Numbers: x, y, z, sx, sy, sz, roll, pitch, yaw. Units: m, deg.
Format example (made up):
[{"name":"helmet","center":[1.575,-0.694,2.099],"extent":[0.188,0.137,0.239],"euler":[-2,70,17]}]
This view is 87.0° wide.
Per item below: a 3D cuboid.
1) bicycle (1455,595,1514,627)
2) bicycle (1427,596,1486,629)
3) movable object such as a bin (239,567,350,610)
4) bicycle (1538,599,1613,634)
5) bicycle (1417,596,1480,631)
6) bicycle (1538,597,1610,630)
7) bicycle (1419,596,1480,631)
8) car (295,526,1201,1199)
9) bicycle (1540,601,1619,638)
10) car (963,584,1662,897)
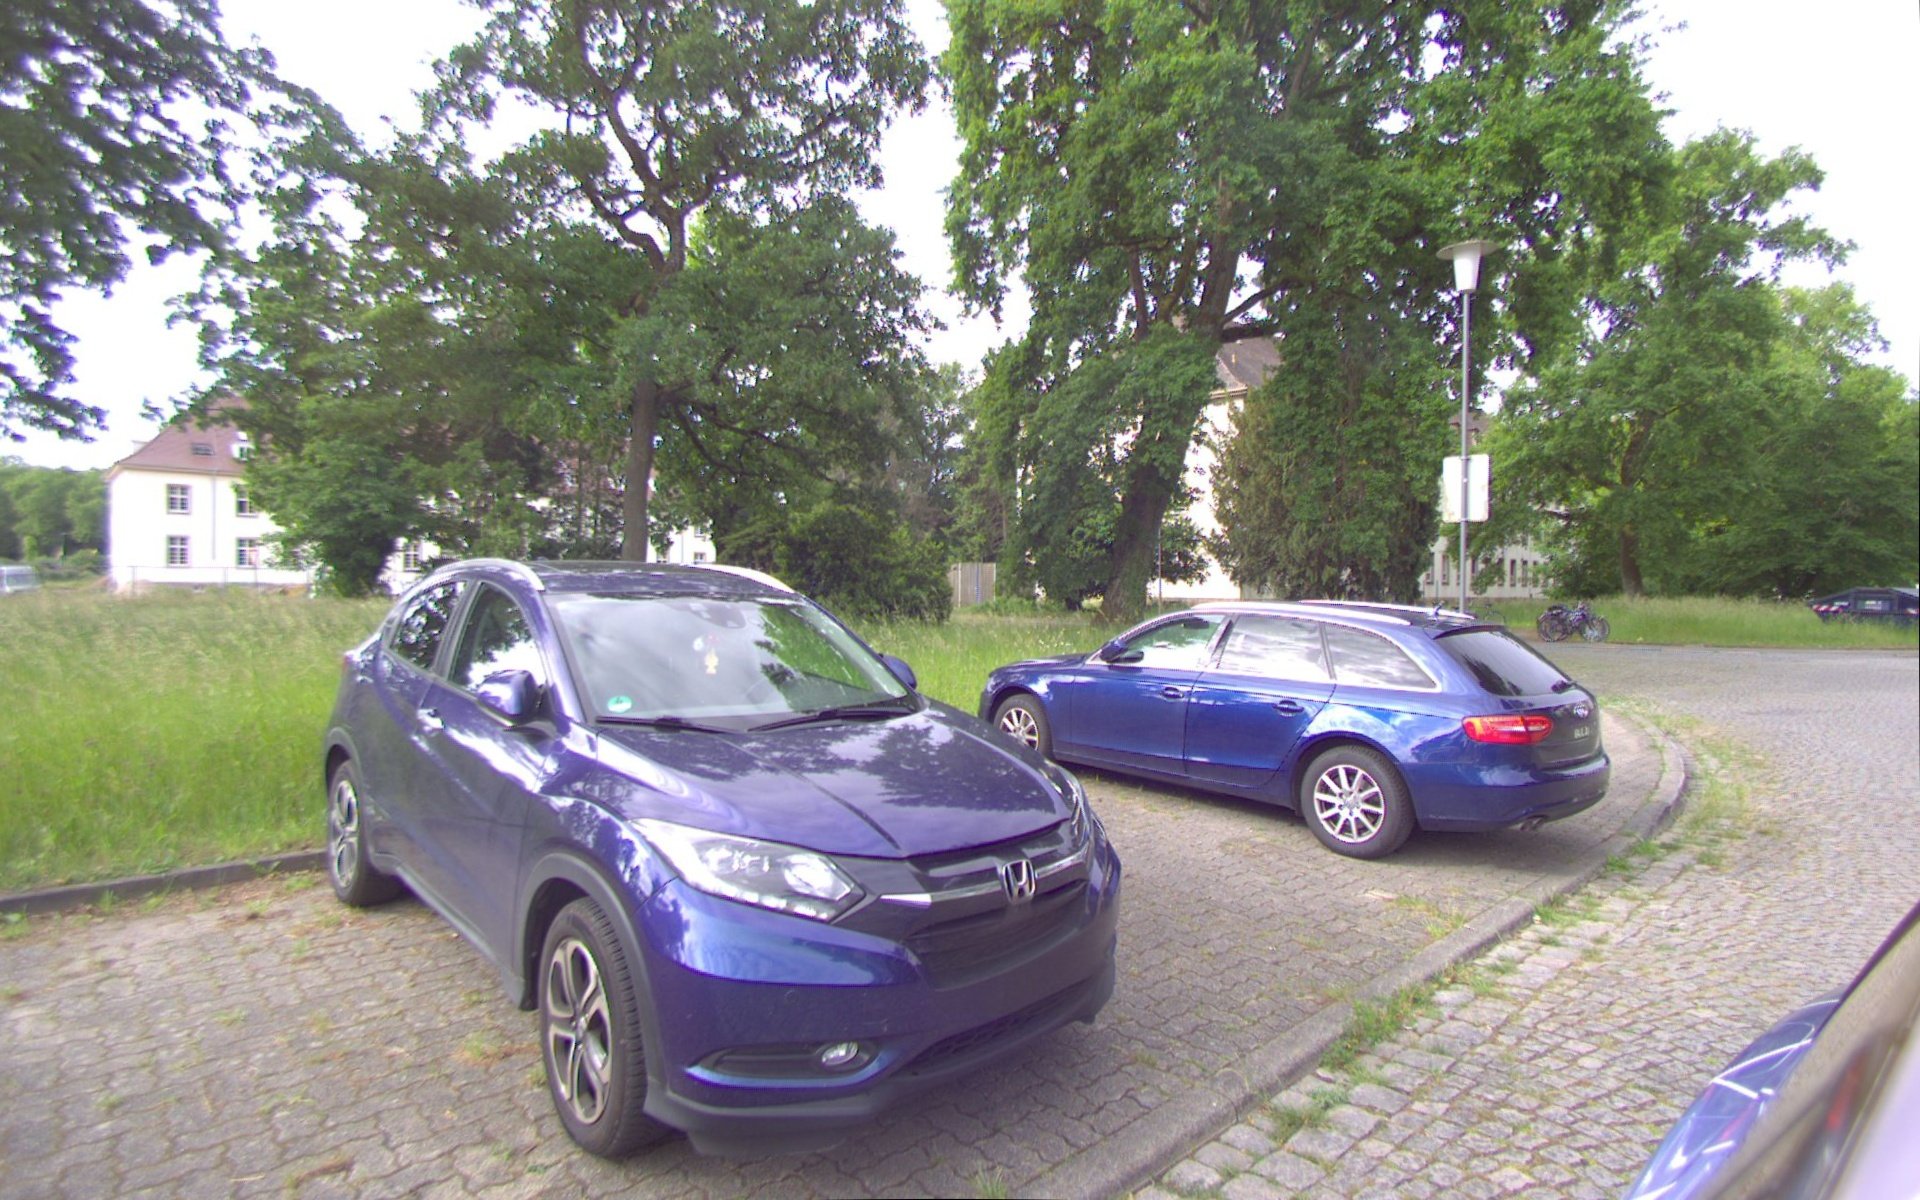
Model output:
[{"name":"bicycle","center":[19.159,0.391,37.008],"extent":[1.837,1.137,0.617],"euler":[0,0,24]},{"name":"bicycle","center":[17.456,0.426,35.634],"extent":[1.837,1.137,0.617],"euler":[0,0,24]},{"name":"movable object such as a bin","center":[-43.417,-0.774,66.151],"extent":[5.873,2.688,2.172],"euler":[-1,0,-41]},{"name":"bicycle","center":[19.502,0.520,32.118],"extent":[1.948,1.090,0.584],"euler":[0,0,20]},{"name":"bicycle","center":[16.238,0.451,33.668],"extent":[1.837,1.137,0.617],"euler":[0,0,24]},{"name":"bicycle","center":[20.593,0.448,33.984],"extent":[2.007,1.090,0.617],"euler":[0,0,24]},{"name":"bicycle","center":[16.531,0.444,34.233],"extent":[1.837,1.137,0.617],"euler":[0,0,24]},{"name":"car","center":[-1.278,0.590,4.167],"extent":[1.763,1.591,4.167],"euler":[-1,2,-43]},{"name":"bicycle","center":[18.739,0.573,30.656],"extent":[1.948,1.090,0.584],"euler":[0,0,20]},{"name":"car","center":[2.135,0.666,7.281],"extent":[1.753,1.439,4.479],"euler":[0,2,-40]}]
